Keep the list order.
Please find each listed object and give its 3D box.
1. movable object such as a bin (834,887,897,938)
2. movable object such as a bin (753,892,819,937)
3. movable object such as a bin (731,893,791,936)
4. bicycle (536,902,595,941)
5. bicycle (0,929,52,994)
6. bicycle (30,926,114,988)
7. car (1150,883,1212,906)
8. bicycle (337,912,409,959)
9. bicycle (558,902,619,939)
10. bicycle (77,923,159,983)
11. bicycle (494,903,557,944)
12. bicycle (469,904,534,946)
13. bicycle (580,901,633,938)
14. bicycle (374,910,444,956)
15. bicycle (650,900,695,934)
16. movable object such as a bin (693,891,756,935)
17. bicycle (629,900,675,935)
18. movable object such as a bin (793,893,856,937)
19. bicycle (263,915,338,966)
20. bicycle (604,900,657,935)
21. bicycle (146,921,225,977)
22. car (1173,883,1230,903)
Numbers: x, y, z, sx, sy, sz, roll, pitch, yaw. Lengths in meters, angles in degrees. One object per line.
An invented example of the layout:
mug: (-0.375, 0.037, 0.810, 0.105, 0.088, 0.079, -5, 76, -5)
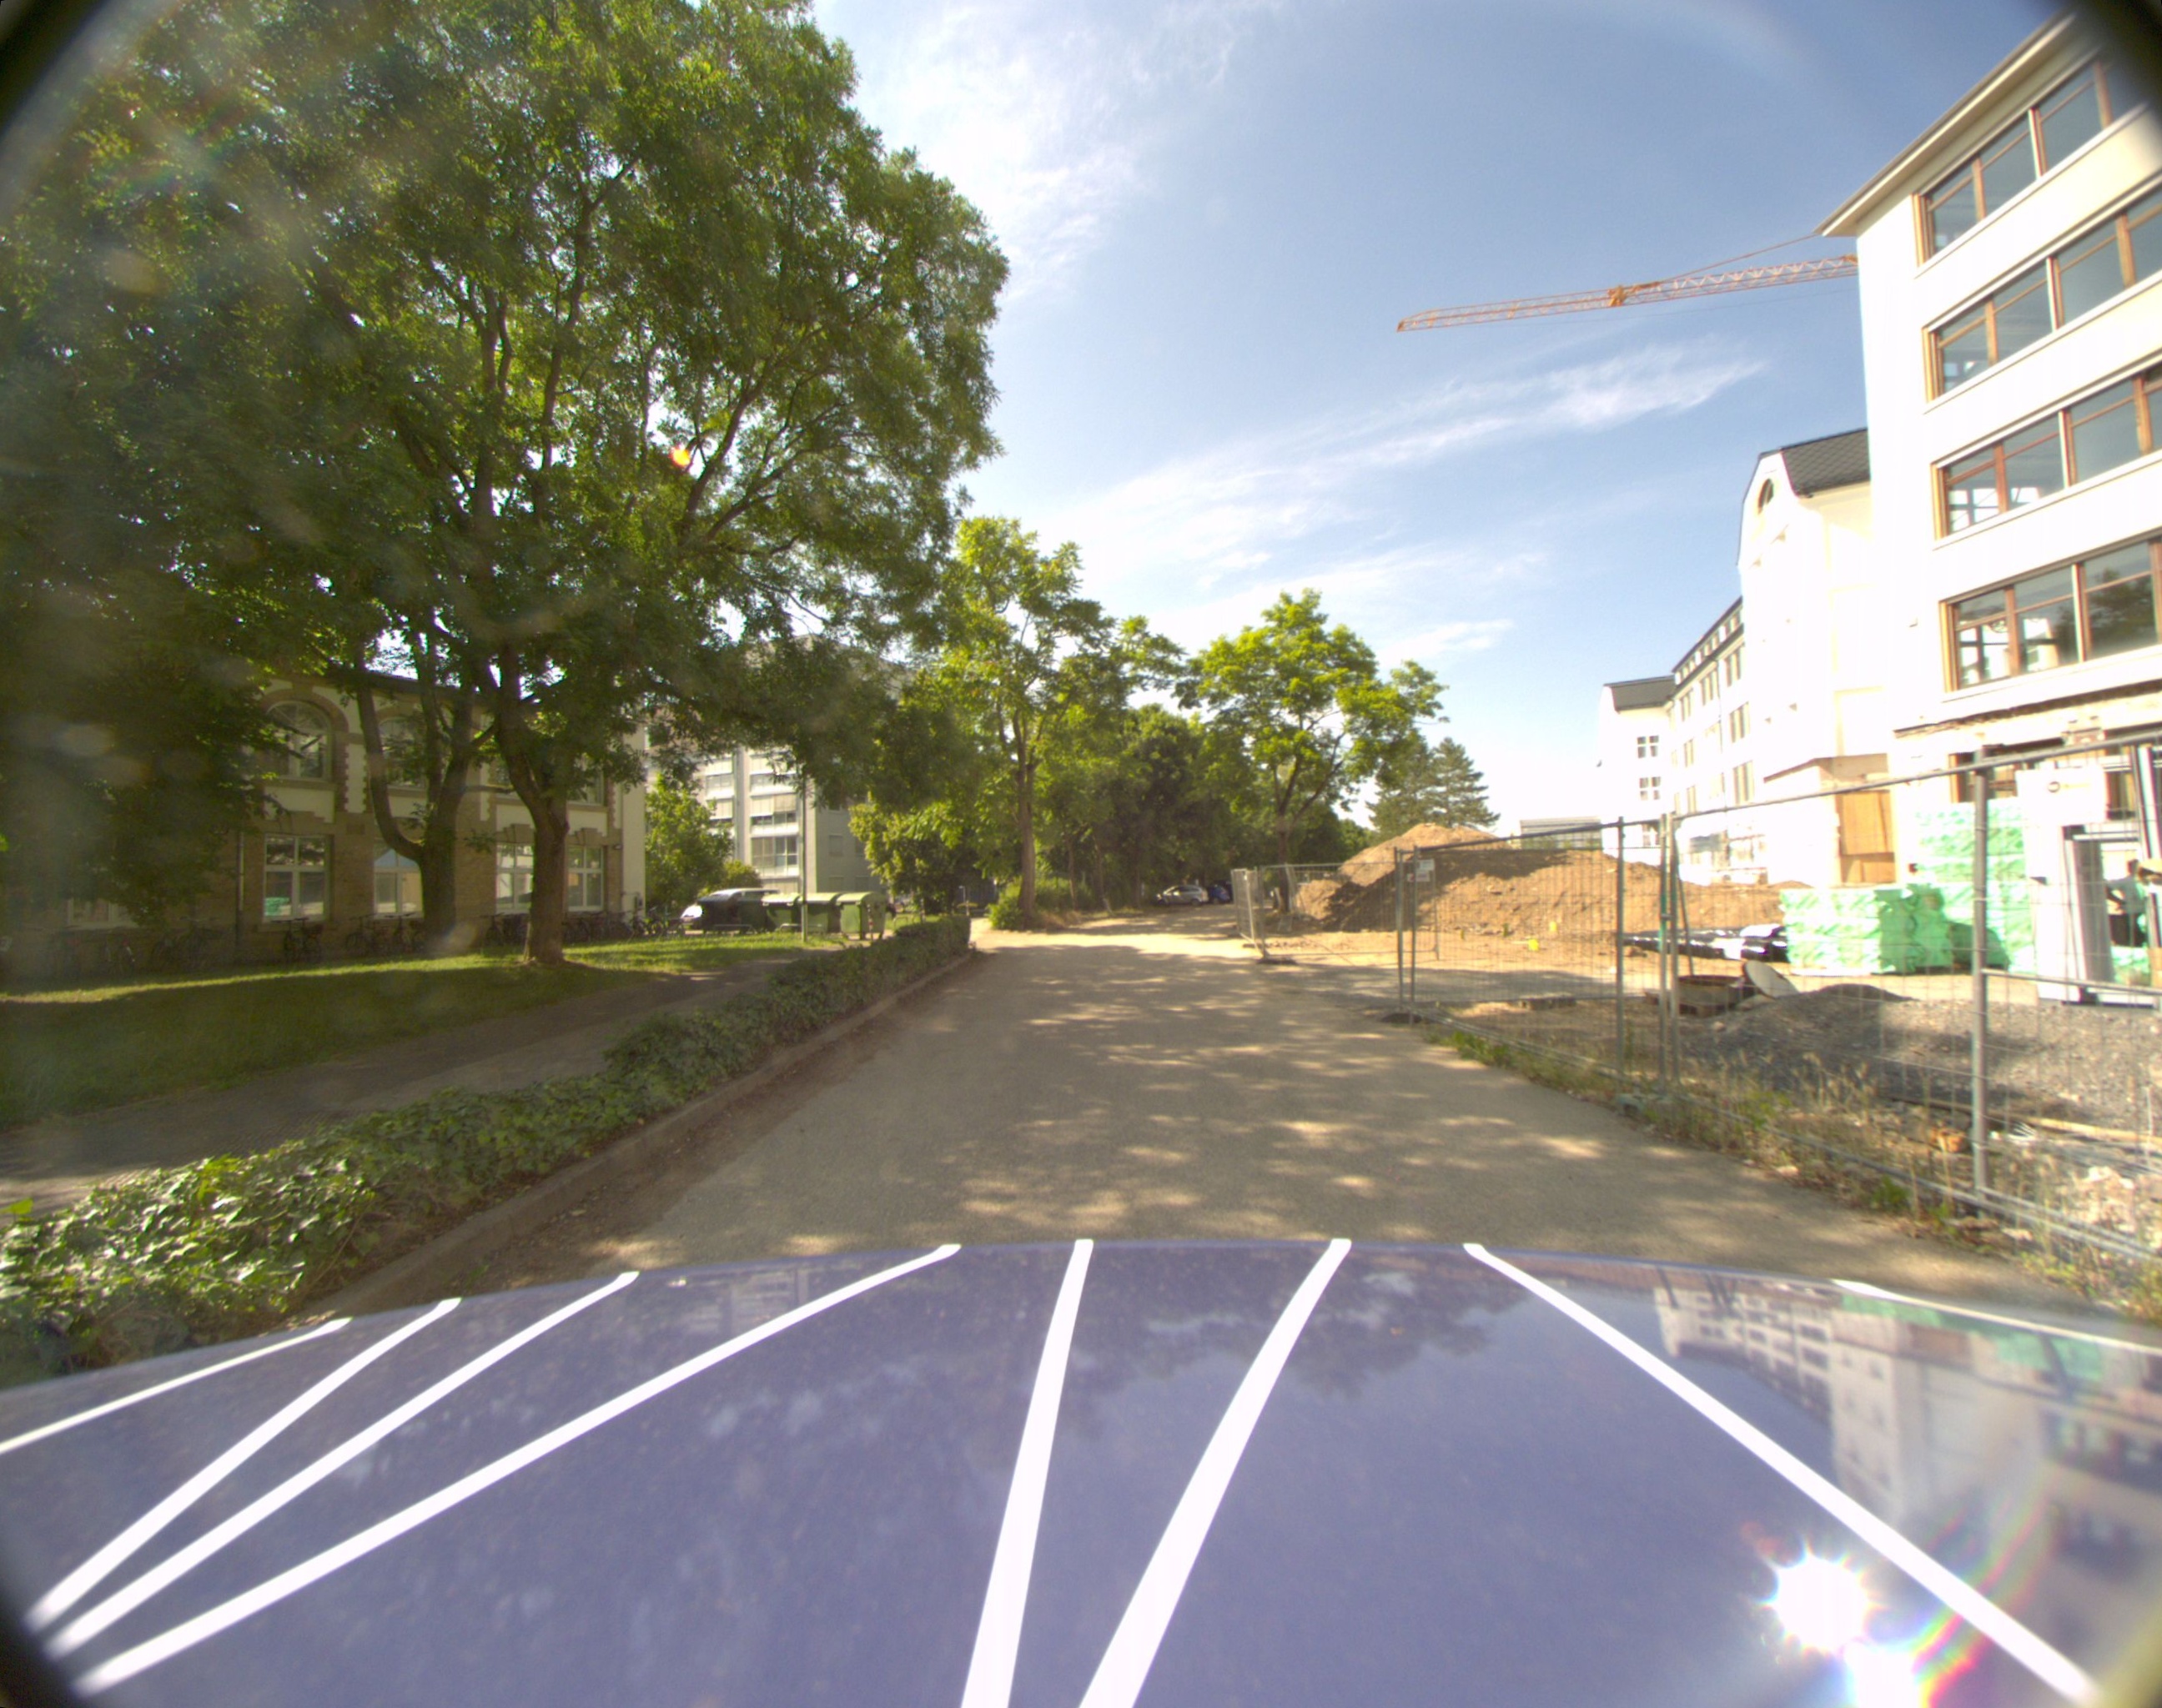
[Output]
movable object such as a bin: (-6.567, 1.766, 23.140, 1.389, 1.453, 1.218, -3, -2, 37)
movable object such as a bin: (-9.368, 1.927, 24.192, 1.498, 1.353, 1.217, -2, -2, 22)
movable object such as a bin: (-10.584, 1.992, 25.154, 1.349, 1.341, 1.217, -2, -2, 22)
bicycle: (-16.111, 2.093, 23.737, 1.917, 1.154, 0.589, -2, -2, 25)
bicycle: (-20.632, 2.041, 14.613, 2.097, 1.154, 0.589, -2, -2, 25)
bicycle: (-20.314, 2.040, 15.284, 2.097, 1.154, 0.589, -2, -2, 25)
car: (7.167, 2.873, 54.137, 3.991, 1.498, 2.004, -2, -2, 20)
bicycle: (-18.241, 2.084, 19.563, 2.097, 1.154, 0.589, -2, -2, 25)
bicycle: (-15.857, 2.138, 24.445, 2.097, 1.154, 0.589, -2, -2, 25)
bicycle: (-20.162, 2.043, 15.902, 2.097, 1.154, 0.589, -2, -2, 25)
bicycle: (-16.675, 2.074, 22.790, 2.097, 1.154, 0.589, -2, -2, 25)
bicycle: (-16.909, 2.065, 22.159, 2.097, 1.154, 0.589, -2, -2, 25)
bicycle: (-15.594, 2.159, 24.957, 1.909, 1.154, 0.495, -2, -2, 25)
bicycle: (-17.944, 2.092, 20.281, 2.097, 1.154, 0.589, -2, -2, 25)
bicycle: (-14.383, 2.211, 26.715, 1.940, 1.154, 0.558, -3, -2, 35)
movable object such as a bin: (-12.051, 1.984, 25.719, 1.433, 1.401, 1.252, -2, -2, 21)
bicycle: (-14.858, 2.198, 26.282, 1.800, 1.154, 0.508, -3, -2, 30)
movable object such as a bin: (-7.956, 1.875, 23.624, 1.352, 1.292, 1.217, -2, -2, 22)
bicycle: (-18.855, 2.075, 18.343, 2.097, 1.154, 0.589, -2, -2, 25)
bicycle: (-15.275, 2.156, 25.761, 1.847, 1.154, 0.614, -2, -2, 25)
bicycle: (-19.707, 2.063, 16.720, 2.097, 1.154, 0.589, -2, -2, 25)
car: (9.389, 3.051, 59.056, 3.991, 1.433, 2.004, -2, -2, 20)
